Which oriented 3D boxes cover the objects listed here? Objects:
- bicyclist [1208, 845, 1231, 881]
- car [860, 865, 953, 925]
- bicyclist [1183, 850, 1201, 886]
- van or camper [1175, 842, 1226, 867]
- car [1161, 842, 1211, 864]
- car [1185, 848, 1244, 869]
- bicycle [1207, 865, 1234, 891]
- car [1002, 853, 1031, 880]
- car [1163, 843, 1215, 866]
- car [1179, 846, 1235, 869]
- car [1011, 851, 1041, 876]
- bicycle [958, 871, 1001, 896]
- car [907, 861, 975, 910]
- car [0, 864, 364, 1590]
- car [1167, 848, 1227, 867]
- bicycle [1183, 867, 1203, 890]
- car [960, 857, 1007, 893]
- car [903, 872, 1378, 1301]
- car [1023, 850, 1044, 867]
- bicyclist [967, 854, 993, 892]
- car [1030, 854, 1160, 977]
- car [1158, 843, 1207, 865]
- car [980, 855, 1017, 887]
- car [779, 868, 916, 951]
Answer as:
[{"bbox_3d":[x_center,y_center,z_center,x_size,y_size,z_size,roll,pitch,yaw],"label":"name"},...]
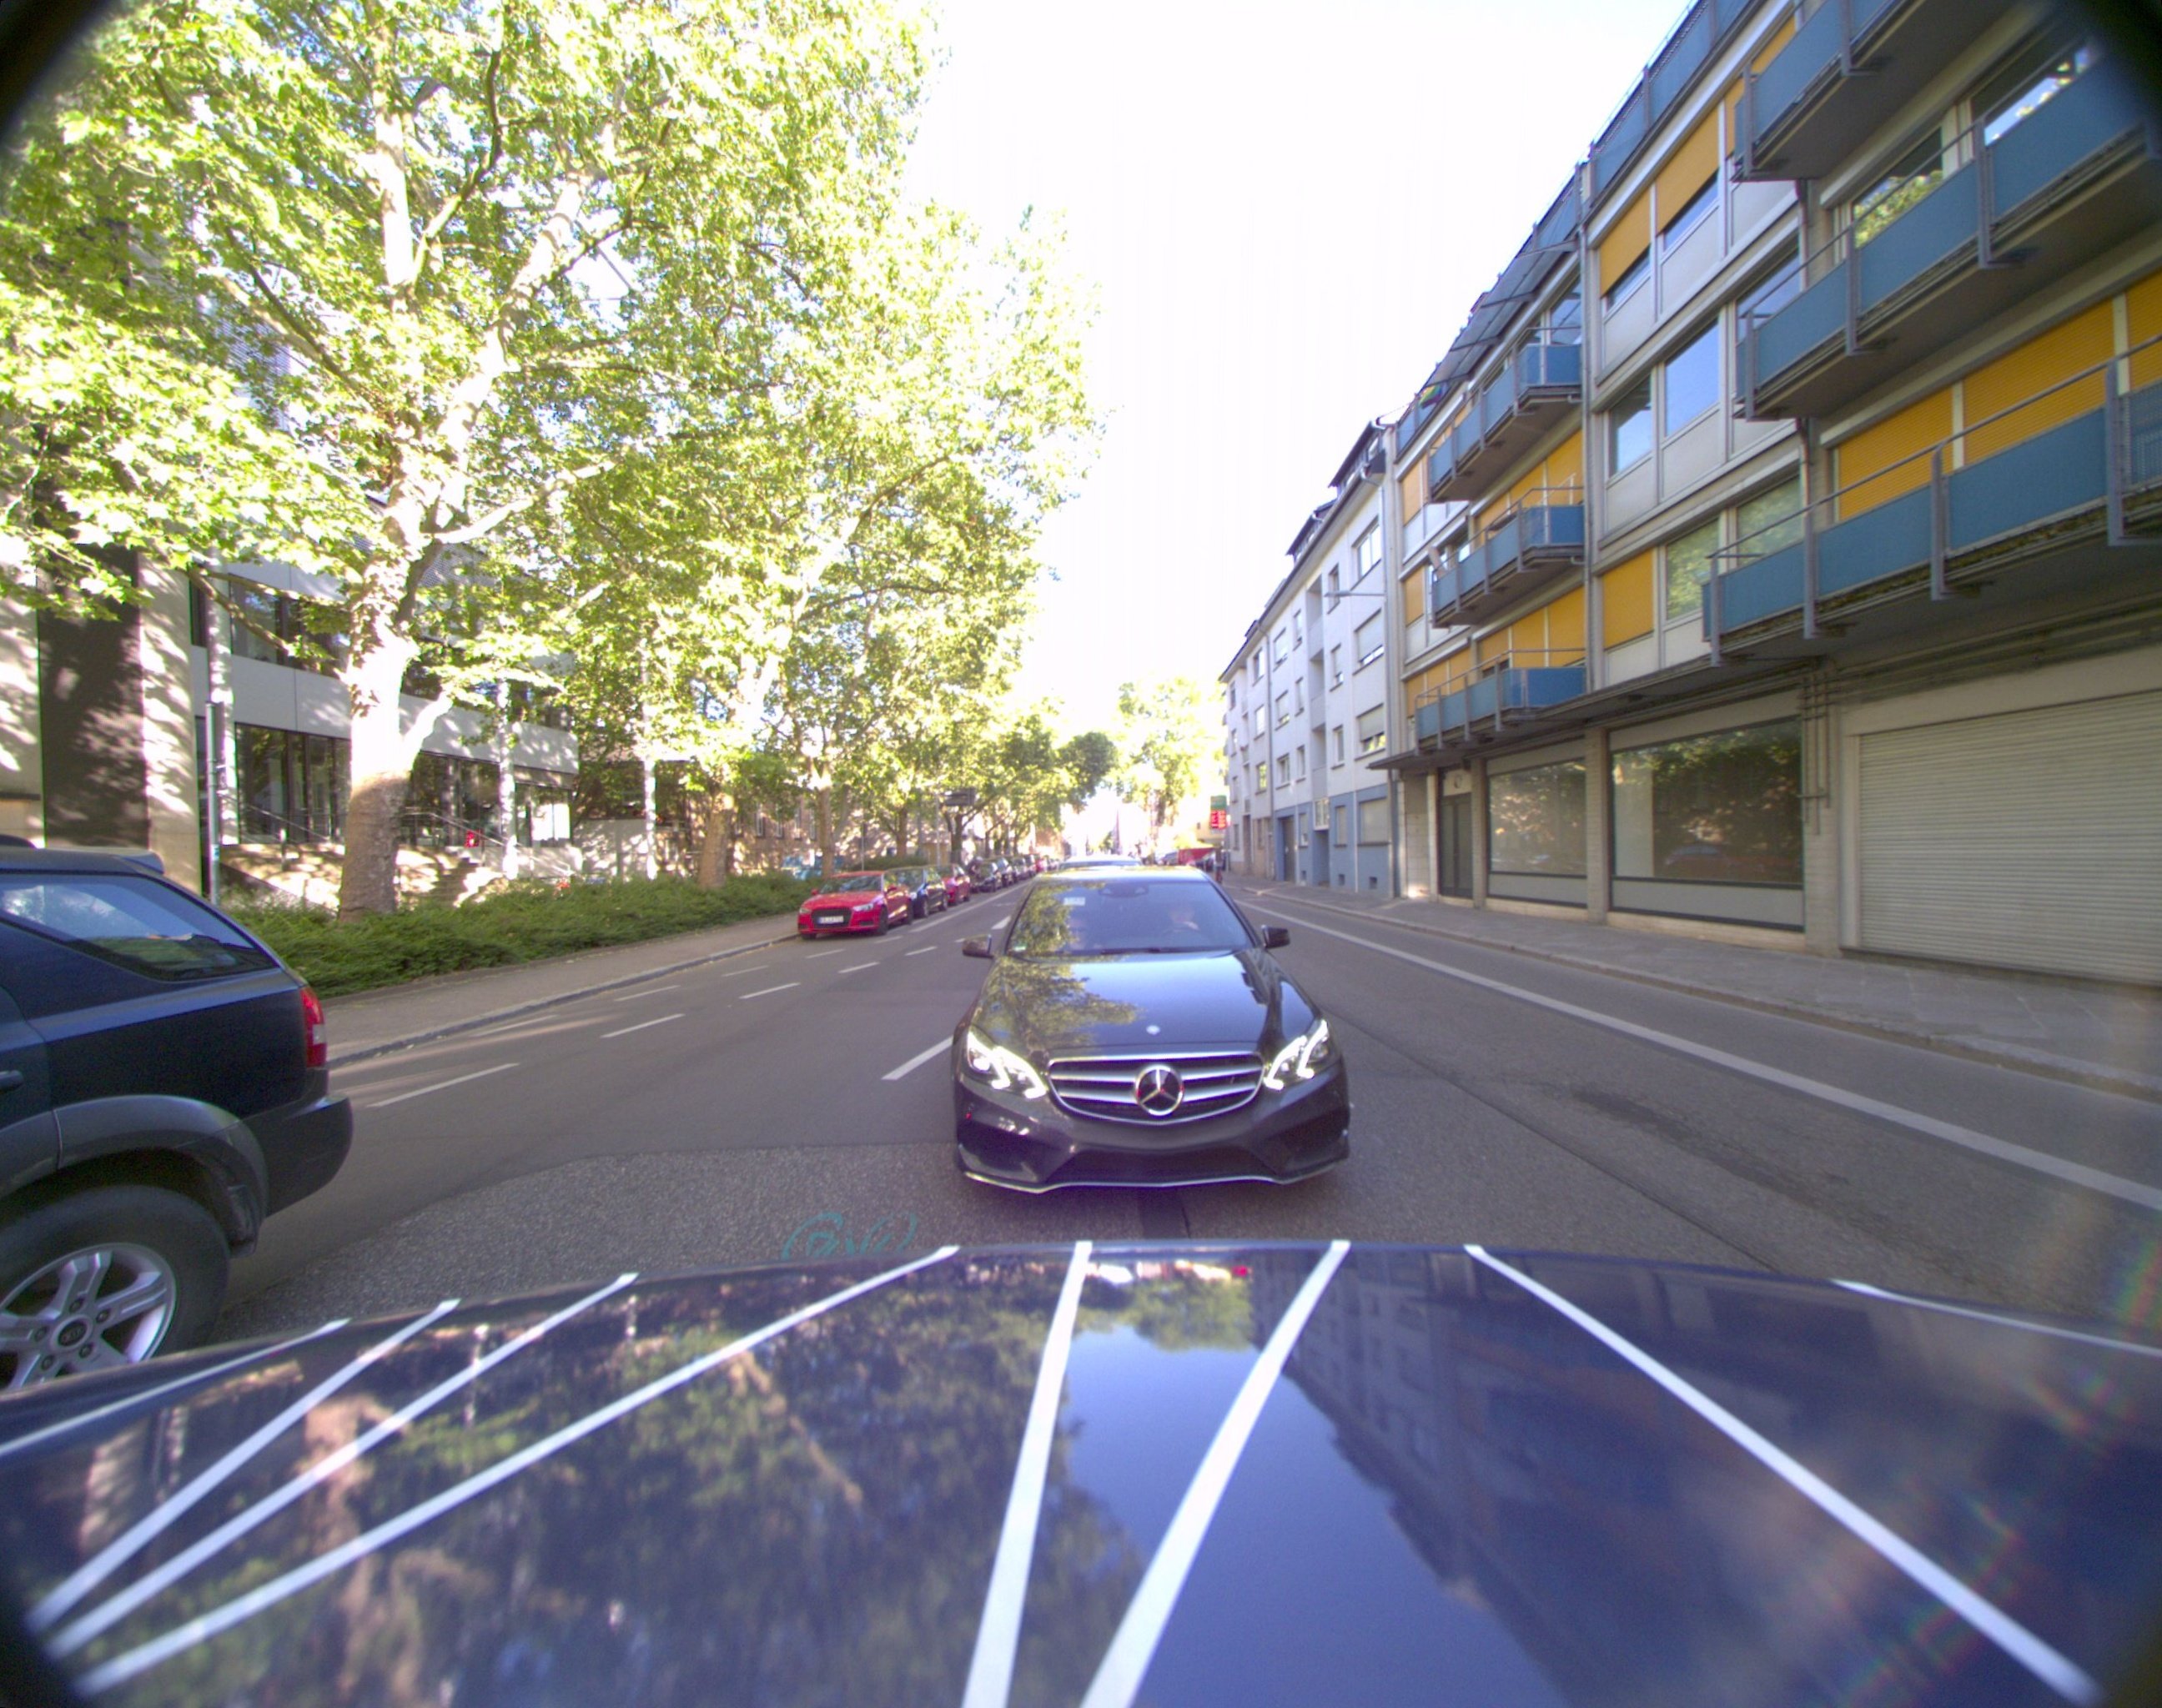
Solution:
[{"bbox_3d":[6.119,0.400,33.550,0.844,1.546,0.839,-2,1,0],"label":"bicyclist"},{"bbox_3d":[-5.085,1.135,22.664,1.741,1.444,4.091,-4,0,0],"label":"car"},{"bbox_3d":[4.905,0.604,33.587,0.686,1.569,0.982,-2,1,3],"label":"bicyclist"},{"bbox_3d":[10.064,0.018,64.209,3.997,2.002,2.000,-2,1,0],"label":"van or camper"},{"bbox_3d":[11.041,-0.108,80.201,4.990,2.181,2.000,-2,1,1],"label":"car"},{"bbox_3d":[10.320,0.318,58.972,4.146,1.486,2.000,-2,0,1],"label":"car"},{"bbox_3d":[6.136,1.048,33.536,0.865,1.072,1.836,-2,0,1],"label":"bicycle"},{"bbox_3d":[-4.607,0.865,54.759,1.741,1.785,3.895,-2,0,0],"label":"car"},{"bbox_3d":[10.920,0.019,77.350,4.990,2.181,2.000,-2,1,1],"label":"car"},{"bbox_3d":[10.143,0.263,61.302,4.146,1.681,2.000,-2,0,1],"label":"car"},{"bbox_3d":[-4.273,0.718,59.860,1.992,1.795,4.376,-2,0,0],"label":"car"},{"bbox_3d":[-4.441,1.279,33.312,1.800,1.009,0.734,-2,1,-11],"label":"bicycle"},{"bbox_3d":[-5.010,1.088,27.648,1.681,1.484,3.918,-4,0,0],"label":"car"},{"bbox_3d":[-3.621,0.978,0.587,1.785,1.760,4.384,-3,0,2],"label":"car"},{"bbox_3d":[10.166,0.278,66.712,4.990,1.486,2.000,-2,0,1],"label":"car"},{"bbox_3d":[4.927,1.070,33.626,0.695,0.924,1.863,-2,0,3],"label":"bicycle"},{"bbox_3d":[-4.748,0.985,37.403,1.741,1.622,4.091,-2,0,0],"label":"car"},{"bbox_3d":[0.221,0.921,4.783,1.740,1.448,3.864,-2,0,0],"label":"car"},{"bbox_3d":[-4.377,0.434,70.457,1.741,1.469,4.091,-2,0,0],"label":"car"},{"bbox_3d":[-4.436,0.829,33.321,1.038,1.610,0.697,-2,1,-10],"label":"bicyclist"},{"bbox_3d":[0.217,0.824,12.483,1.646,1.520,4.619,-4,0,1],"label":"car"},{"bbox_3d":[11.044,-0.015,82.833,4.990,2.181,2.000,-2,1,1],"label":"car"},{"bbox_3d":[-4.563,0.911,42.387,1.634,1.677,3.907,-2,0,0],"label":"car"},{"bbox_3d":[-5.247,1.175,17.686,1.830,1.519,4.142,-4,0,0],"label":"car"}]
